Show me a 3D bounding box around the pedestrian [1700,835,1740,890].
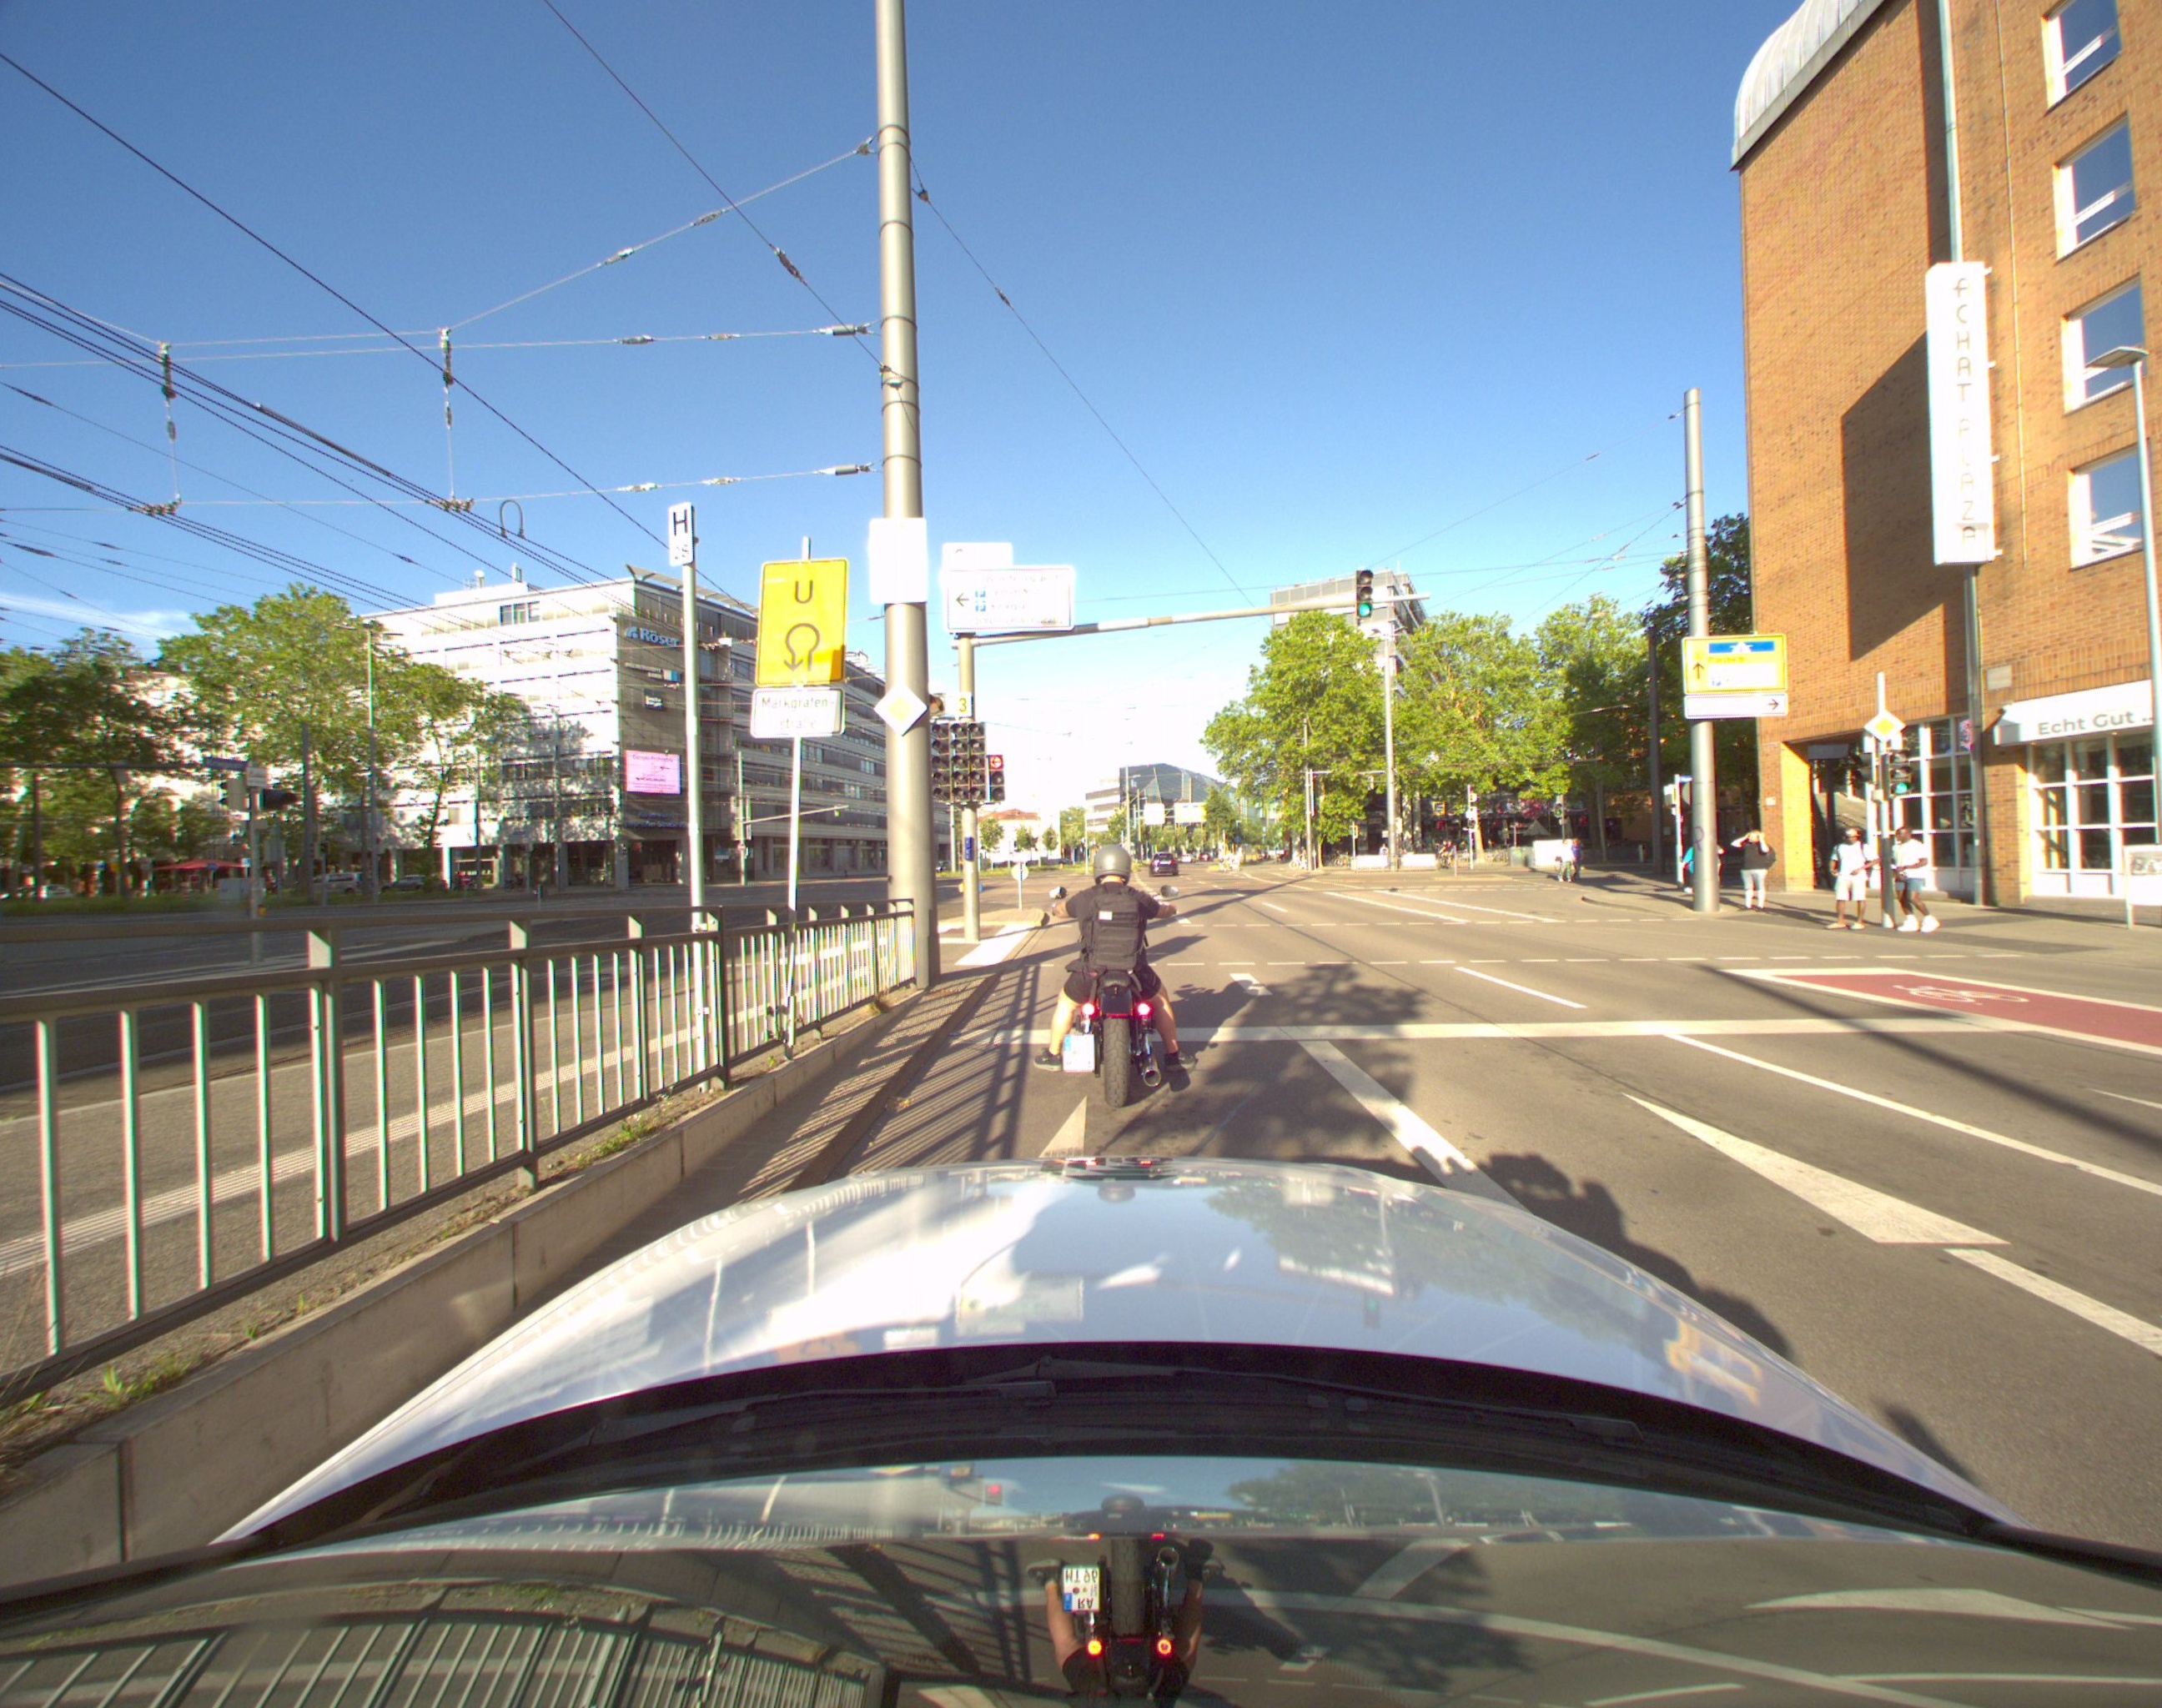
[{"bbox_3d":[17.642,0.226,22.497,0.590,1.476,0.552,-2,-1,2],"label":"pedestrian"}]

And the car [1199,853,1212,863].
[{"bbox_3d":[21.680,0.751,141.857,1.790,1.678,4.055,0,-1,14],"label":"car"}]

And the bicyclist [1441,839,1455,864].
[{"bbox_3d":[22.135,-0.134,49.112,0.560,1.519,0.638,-1,-1,40],"label":"bicyclist"}]

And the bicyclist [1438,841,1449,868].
[{"bbox_3d":[24.998,0.044,56.162,0.582,1.837,0.403,0,-1,1],"label":"bicyclist"}]

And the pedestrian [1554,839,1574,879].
[{"bbox_3d":[18.918,0.192,31.896,0.561,1.533,0.706,-1,-1,22],"label":"pedestrian"}]

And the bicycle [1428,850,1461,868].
[{"bbox_3d":[25.040,0.353,56.151,2.034,1.214,0.421,0,-1,2],"label":"bicycle"}]

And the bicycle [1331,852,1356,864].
[{"bbox_3d":[21.584,0.331,66.981,1.874,1.046,0.360,0,-1,1],"label":"bicycle"}]

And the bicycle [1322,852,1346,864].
[{"bbox_3d":[21.498,0.353,69.157,1.874,1.046,0.360,0,0,1],"label":"bicycle"}]

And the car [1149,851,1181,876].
[{"bbox_3d":[5.710,0.615,54.953,1.793,1.595,4.464,-2,0,9],"label":"car"}]

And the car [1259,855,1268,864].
[{"bbox_3d":[35.221,1.070,157.378,1.519,1.838,3.589,-1,-1,15],"label":"car"}]

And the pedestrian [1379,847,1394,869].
[{"bbox_3d":[22.900,0.304,60.995,0.829,1.704,0.760,0,-1,2],"label":"pedestrian"}]

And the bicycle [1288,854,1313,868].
[{"bbox_3d":[17.527,0.567,64.995,1.854,1.044,0.540,-1,-1,20],"label":"bicycle"}]

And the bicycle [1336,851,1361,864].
[{"bbox_3d":[21.442,0.286,65.386,1.874,1.046,0.360,0,-1,1],"label":"bicycle"}]

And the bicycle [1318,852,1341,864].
[{"bbox_3d":[21.440,0.359,70.309,1.874,1.046,0.360,0,0,1],"label":"bicycle"}]

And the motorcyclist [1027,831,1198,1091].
[{"bbox_3d":[0.209,0.665,5.506,1.027,1.593,0.874,-2,0,1],"label":"motorcyclist"}]

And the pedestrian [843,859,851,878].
[{"bbox_3d":[-25.437,1.587,88.430,0.628,2.014,0.754,0,-1,2],"label":"pedestrian"}]

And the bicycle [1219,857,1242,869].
[{"bbox_3d":[12.282,0.755,66.962,1.823,0.925,0.357,0,-1,-7],"label":"bicycle"}]

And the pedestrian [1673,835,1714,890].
[{"bbox_3d":[16.817,0.233,22.369,0.590,1.452,0.601,-2,-1,2],"label":"pedestrian"}]

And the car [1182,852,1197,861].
[{"bbox_3d":[17.173,0.393,128.381,1.790,1.430,4.470,-2,0,14],"label":"car"}]

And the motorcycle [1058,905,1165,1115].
[{"bbox_3d":[0.206,0.950,5.705,0.598,1.036,2.235,0,0,2],"label":"motorcycle"}]

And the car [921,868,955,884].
[{"bbox_3d":[-13.899,2.089,79.252,1.737,1.524,4.014,-1,-1,13],"label":"car"}]

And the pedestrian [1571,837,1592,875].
[{"bbox_3d":[19.466,0.084,31.692,0.561,1.479,0.706,-1,-1,22],"label":"pedestrian"}]

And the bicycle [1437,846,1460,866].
[{"bbox_3d":[22.181,0.152,49.144,0.561,1.178,2.344,-1,-2,41],"label":"bicycle"}]

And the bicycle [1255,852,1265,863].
[{"bbox_3d":[21.269,0.423,96.772,0.722,1.367,2.922,0,-1,6],"label":"bicycle"}]

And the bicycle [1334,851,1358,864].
[{"bbox_3d":[21.524,0.308,66.167,1.874,1.046,0.360,0,-1,1],"label":"bicycle"}]

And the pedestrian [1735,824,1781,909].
[{"bbox_3d":[14.557,0.271,17.515,0.727,1.792,0.515,-1,-1,42],"label":"pedestrian"}]

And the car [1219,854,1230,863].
[{"bbox_3d":[27.305,0.878,154.947,1.717,1.838,3.589,-1,-1,14],"label":"car"}]

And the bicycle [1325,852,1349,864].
[{"bbox_3d":[21.562,0.352,68.656,1.874,1.046,0.360,0,0,1],"label":"bicycle"}]

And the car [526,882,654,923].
[{"bbox_3d":[-13.861,1.357,23.120,2.884,1.063,1.235,0,-1,-19],"label":"car"}]

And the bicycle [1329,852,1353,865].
[{"bbox_3d":[21.558,0.350,67.538,1.874,1.046,0.360,0,0,1],"label":"bicycle"}]

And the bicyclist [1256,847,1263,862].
[{"bbox_3d":[21.236,0.081,96.791,0.693,1.808,0.730,0,-1,6],"label":"bicyclist"}]

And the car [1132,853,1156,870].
[{"bbox_3d":[5.737,0.698,73.873,1.793,1.430,4.463,-2,0,8],"label":"car"}]

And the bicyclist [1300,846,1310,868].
[{"bbox_3d":[17.837,0.242,64.889,0.682,1.673,0.544,-2,-2,21],"label":"bicyclist"}]

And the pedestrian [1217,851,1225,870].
[{"bbox_3d":[11.802,0.541,68.596,0.587,1.557,0.488,0,-1,-6],"label":"pedestrian"}]

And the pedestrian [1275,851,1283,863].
[{"bbox_3d":[21.969,0.283,90.348,0.814,1.314,0.640,-1,-1,11],"label":"pedestrian"}]

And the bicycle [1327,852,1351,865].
[{"bbox_3d":[21.564,0.358,68.170,1.874,1.046,0.360,0,-1,1],"label":"bicycle"}]

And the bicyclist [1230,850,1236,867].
[{"bbox_3d":[12.470,0.394,66.986,0.380,1.373,0.344,0,-1,-7],"label":"bicyclist"}]

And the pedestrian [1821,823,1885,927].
[{"bbox_3d":[13.609,0.372,14.372,0.587,1.780,0.686,-3,-1,29],"label":"pedestrian"}]

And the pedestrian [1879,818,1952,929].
[{"bbox_3d":[13.914,0.313,13.586,0.682,1.780,0.589,-2,-1,-24],"label":"pedestrian"}]
